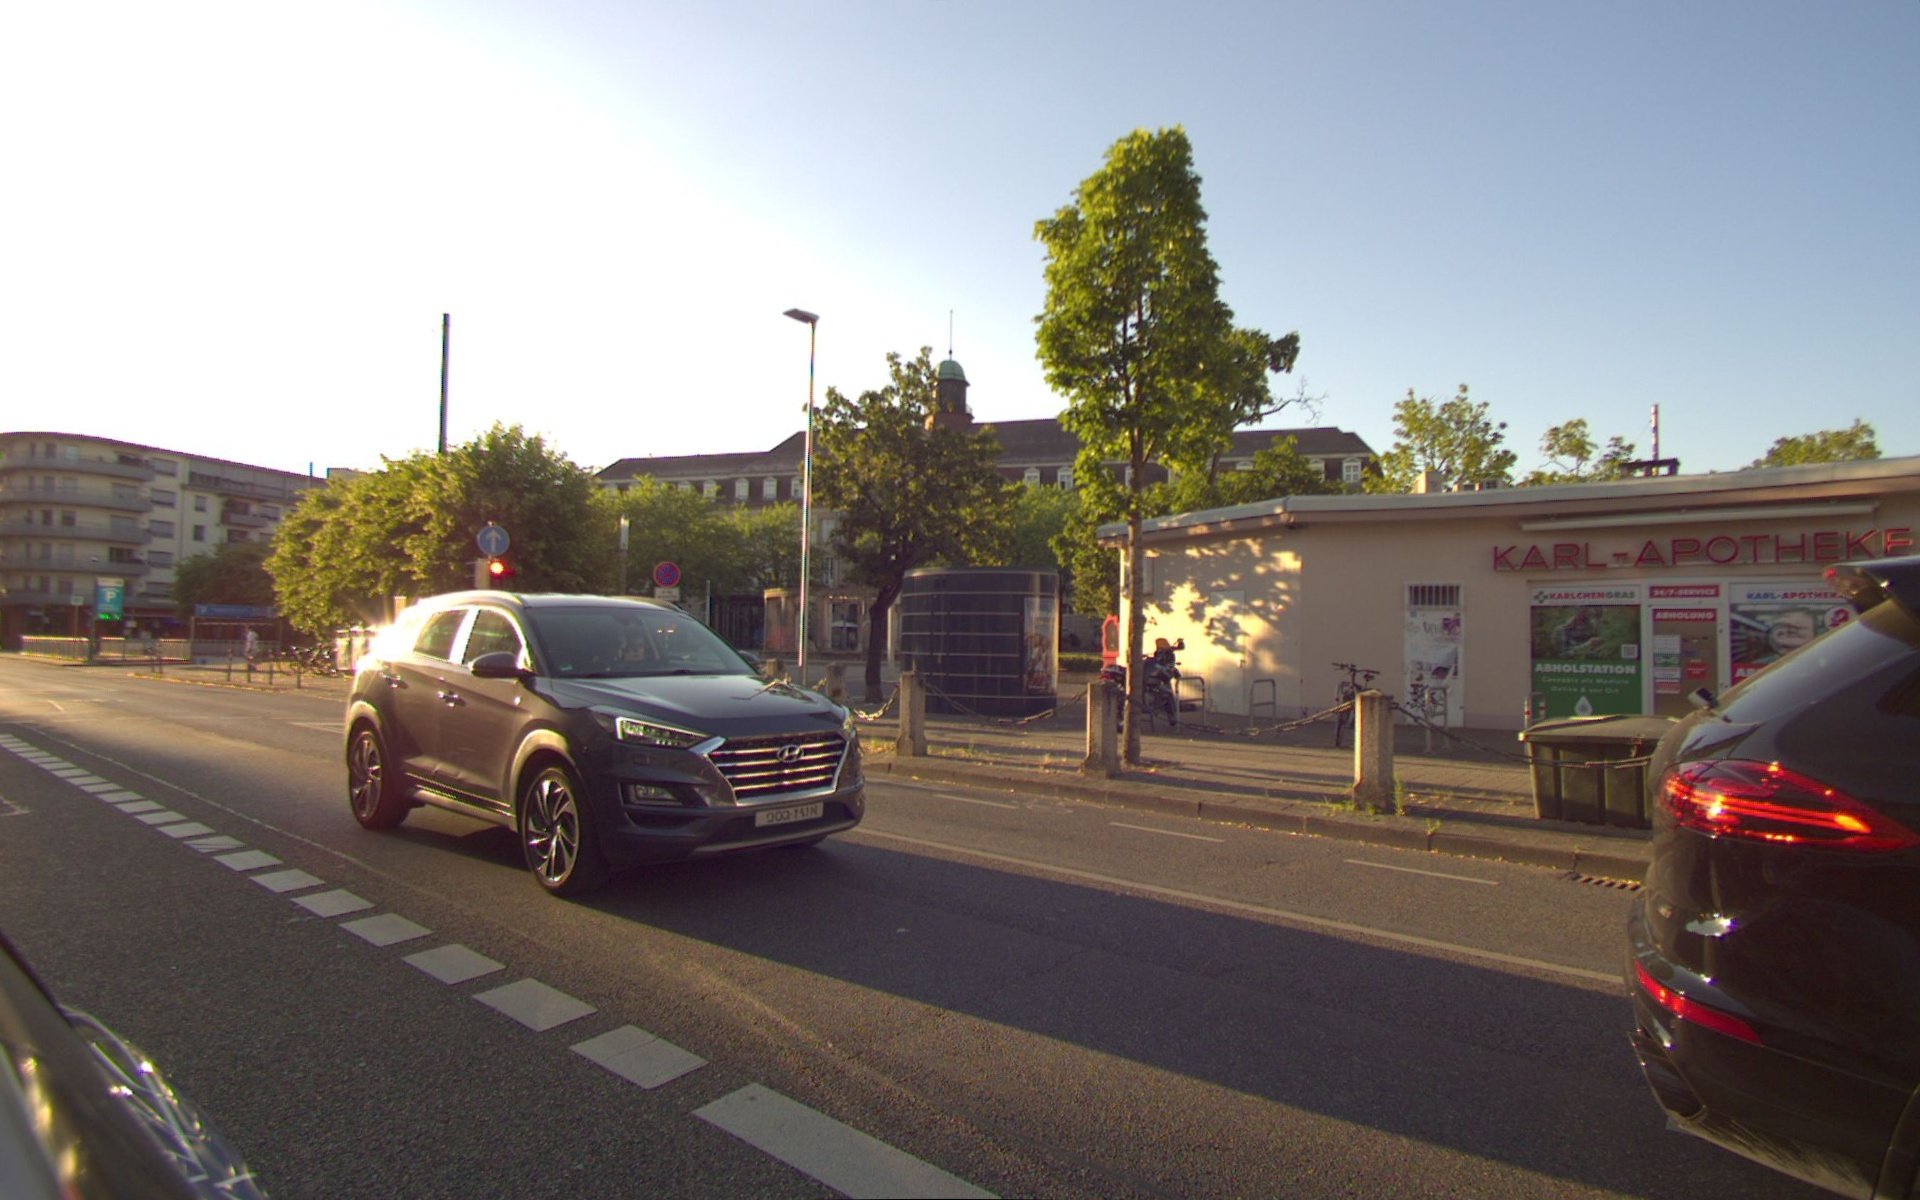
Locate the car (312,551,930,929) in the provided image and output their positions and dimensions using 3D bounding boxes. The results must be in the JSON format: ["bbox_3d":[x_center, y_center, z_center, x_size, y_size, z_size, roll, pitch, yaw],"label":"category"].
[{"bbox_3d":[-2.470,0.738,6.748,4.446,1.702,1.853,-2,-5,41],"label":"car"}]

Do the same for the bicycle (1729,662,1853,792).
[{"bbox_3d":[9.091,1.319,11.053,0.949,1.266,1.984,-2,-4,41],"label":"bicycle"}]

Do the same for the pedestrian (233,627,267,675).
[{"bbox_3d":[-27.660,1.991,39.443,0.936,1.831,0.828,2,-3,-28],"label":"pedestrian"}]

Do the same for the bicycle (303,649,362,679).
[{"bbox_3d":[-21.540,2.186,34.761,0.548,0.986,1.658,-2,-2,36],"label":"bicycle"}]

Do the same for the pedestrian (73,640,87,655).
[{"bbox_3d":[-74.930,4.040,86.148,0.888,1.332,0.723,-2,-3,39],"label":"pedestrian"}]

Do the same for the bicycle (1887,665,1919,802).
[{"bbox_3d":[9.943,1.298,10.207,0.787,1.266,2.418,-2,-4,41],"label":"bicycle"}]

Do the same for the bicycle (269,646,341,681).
[{"bbox_3d":[-22.437,2.156,34.699,0.548,1.143,2.007,-2,-2,36],"label":"bicycle"}]

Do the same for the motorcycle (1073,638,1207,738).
[{"bbox_3d":[2.865,1.344,15.852,0.868,1.440,2.554,-2,-4,41],"label":"motorcycle"}]

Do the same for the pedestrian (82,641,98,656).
[{"bbox_3d":[-74.813,4.176,87.017,0.814,1.332,0.684,-1,-3,16],"label":"pedestrian"}]

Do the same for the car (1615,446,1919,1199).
[{"bbox_3d":[3.713,0.587,1.351,4.557,1.727,1.929,-2,-4,40],"label":"car"}]

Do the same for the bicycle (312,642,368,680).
[{"bbox_3d":[-21.139,2.071,34.538,0.444,1.262,1.571,-2,-2,38],"label":"bicycle"}]

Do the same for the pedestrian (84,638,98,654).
[{"bbox_3d":[-74.507,3.959,86.770,0.887,1.332,0.723,-2,-3,38],"label":"pedestrian"}]

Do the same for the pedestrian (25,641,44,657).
[{"bbox_3d":[-75.626,4.017,82.694,0.726,1.332,0.885,0,-3,13],"label":"pedestrian"}]

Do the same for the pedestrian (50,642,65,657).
[{"bbox_3d":[-74.834,4.090,83.958,0.875,1.201,0.734,2,-4,-40],"label":"pedestrian"}]

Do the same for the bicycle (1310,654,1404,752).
[{"bbox_3d":[5.522,1.386,14.023,0.632,1.266,1.834,-2,-4,41],"label":"bicycle"}]

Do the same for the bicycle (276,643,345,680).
[{"bbox_3d":[-23.312,2.190,36.344,0.548,1.262,2.007,-2,-2,36],"label":"bicycle"}]
